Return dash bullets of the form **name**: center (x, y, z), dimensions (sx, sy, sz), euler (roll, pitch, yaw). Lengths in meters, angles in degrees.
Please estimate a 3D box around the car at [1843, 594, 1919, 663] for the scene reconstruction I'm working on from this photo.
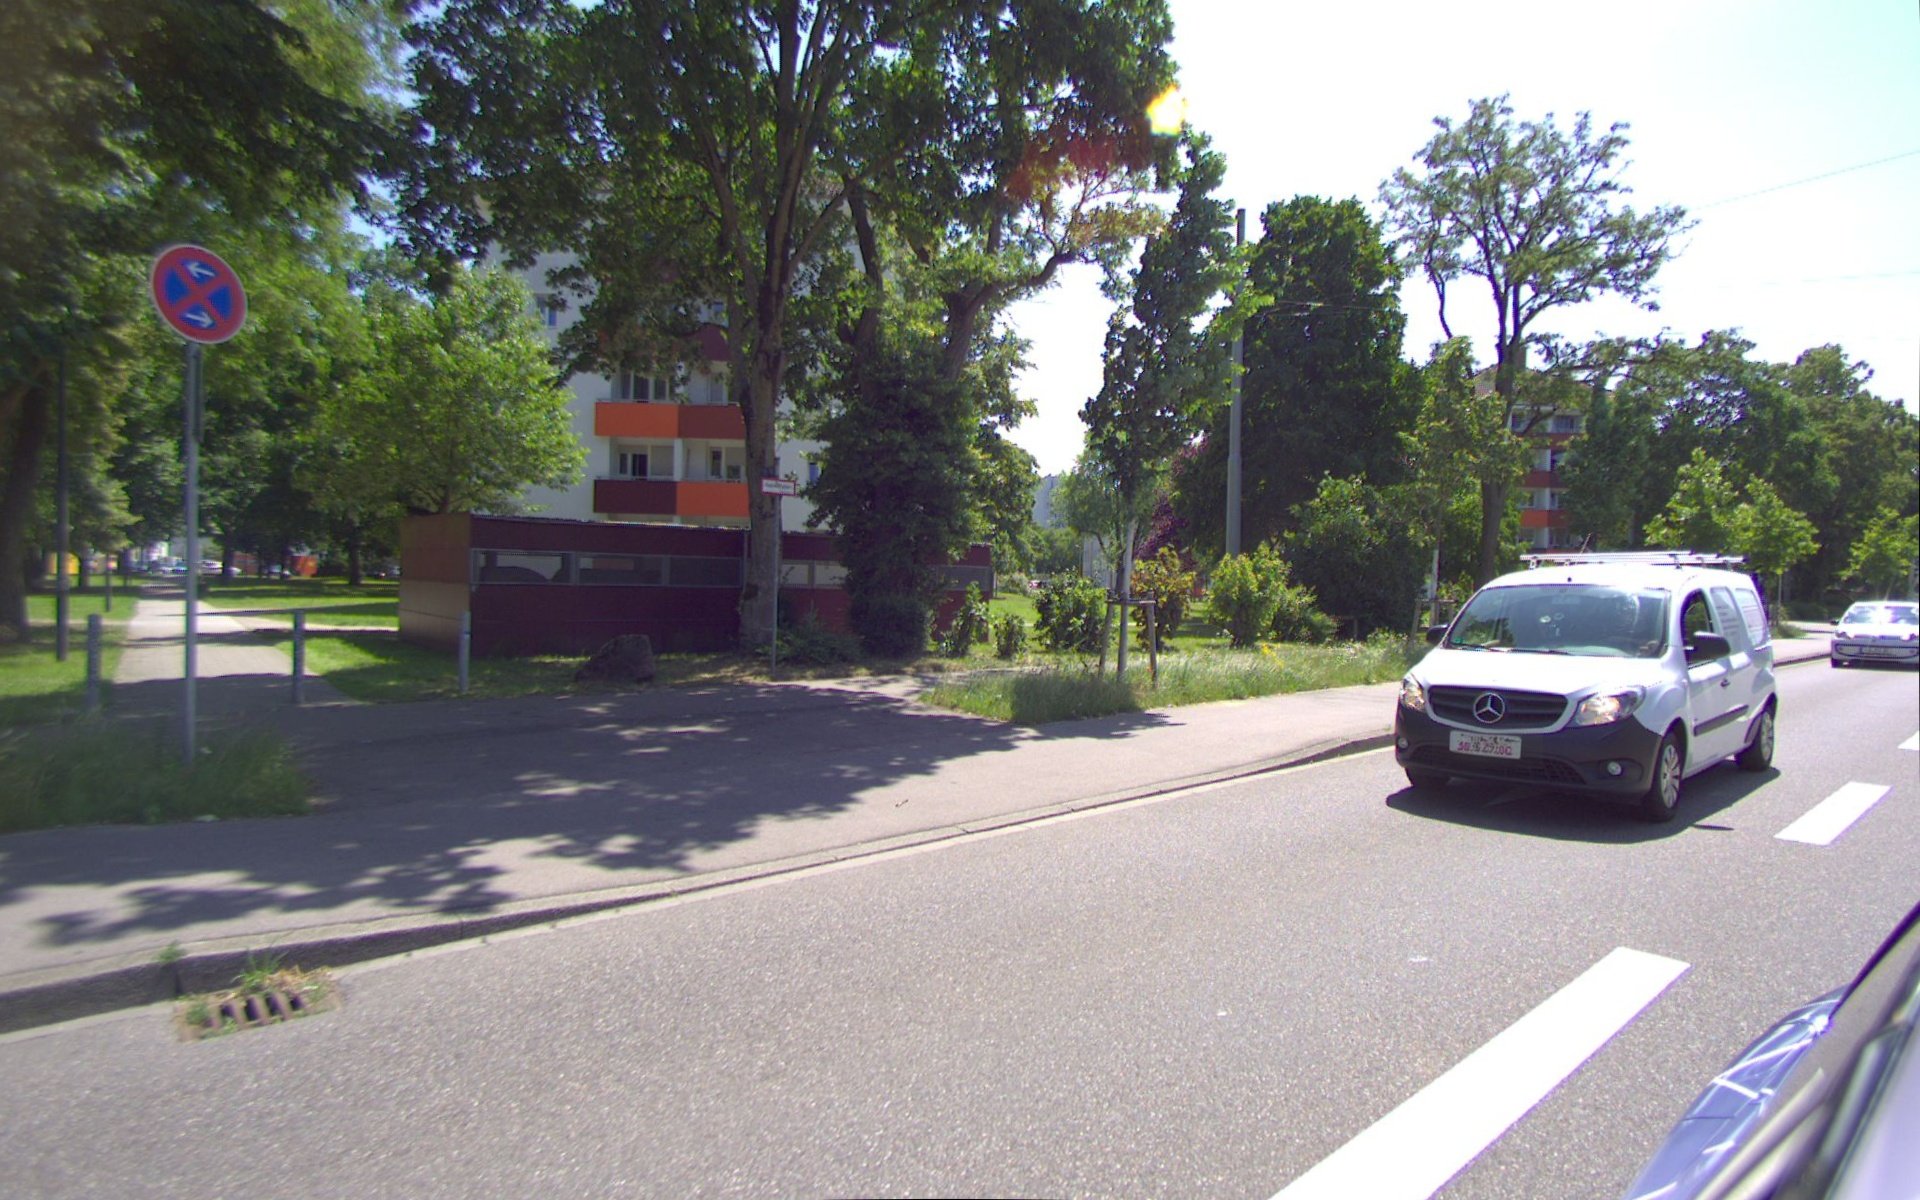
- **car**: center (21.259, 0.599, 22.875), dimensions (3.439, 1.459, 1.624), euler (0, 0, -43)

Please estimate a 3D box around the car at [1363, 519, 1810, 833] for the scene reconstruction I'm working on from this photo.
- **car**: center (5.423, 0.449, 8.414), dimensions (4.994, 1.879, 1.808), euler (0, 0, -41)
